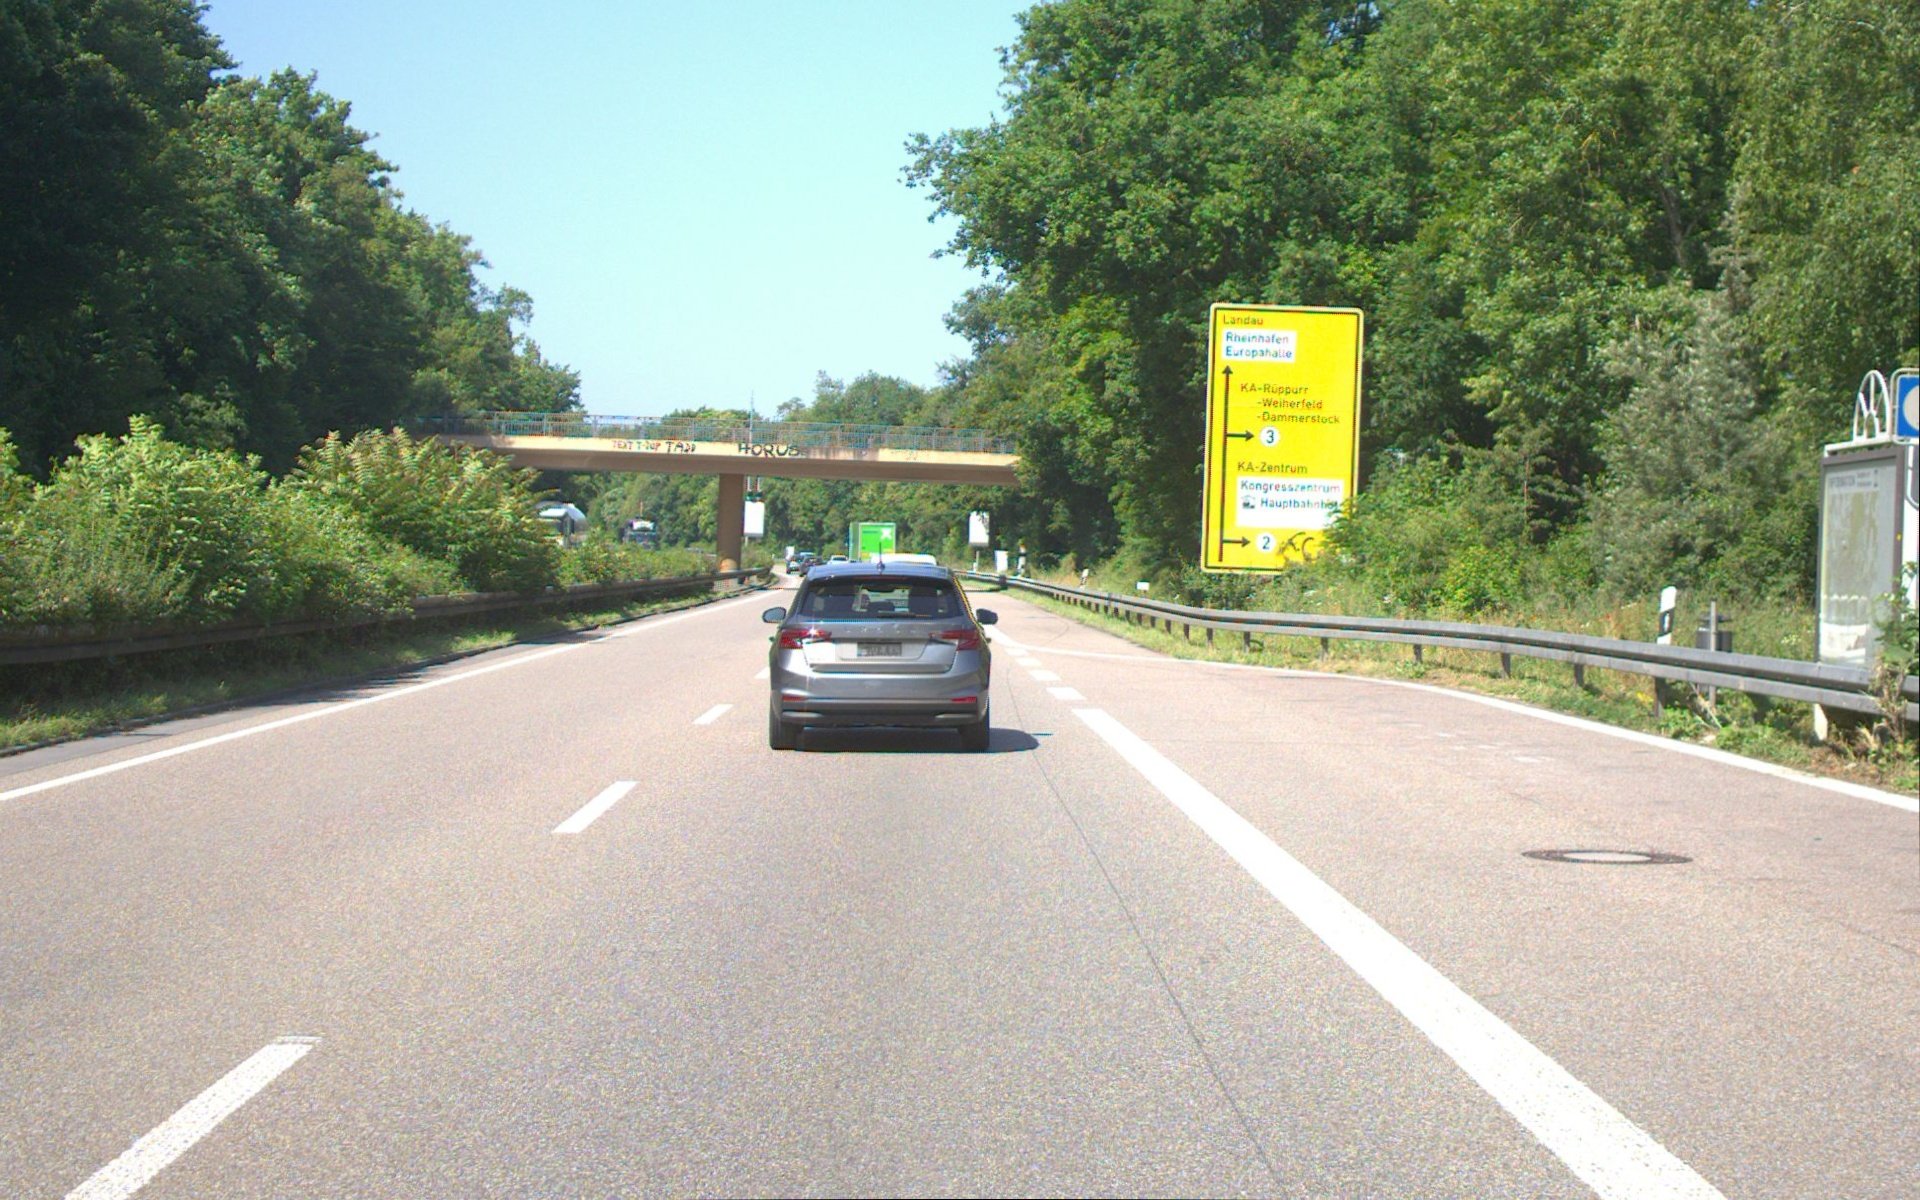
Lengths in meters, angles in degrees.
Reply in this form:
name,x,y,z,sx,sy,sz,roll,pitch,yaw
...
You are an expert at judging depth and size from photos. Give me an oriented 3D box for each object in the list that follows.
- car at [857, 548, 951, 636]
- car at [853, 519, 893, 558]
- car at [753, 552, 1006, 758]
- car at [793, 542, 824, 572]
name,x,y,z,sx,sy,sz,roll,pitch,yaw
car,-0.955,-0.162,60.172,1.522,1.442,3.340,1,1,1
car,-6.073,-4.257,240.266,2.748,2.645,4.000,1,1,-1
car,-0.576,0.381,27.291,1.840,1.467,3.623,1,1,1
car,-10.462,-2.955,237.702,1.993,2.007,4.000,1,1,-1
